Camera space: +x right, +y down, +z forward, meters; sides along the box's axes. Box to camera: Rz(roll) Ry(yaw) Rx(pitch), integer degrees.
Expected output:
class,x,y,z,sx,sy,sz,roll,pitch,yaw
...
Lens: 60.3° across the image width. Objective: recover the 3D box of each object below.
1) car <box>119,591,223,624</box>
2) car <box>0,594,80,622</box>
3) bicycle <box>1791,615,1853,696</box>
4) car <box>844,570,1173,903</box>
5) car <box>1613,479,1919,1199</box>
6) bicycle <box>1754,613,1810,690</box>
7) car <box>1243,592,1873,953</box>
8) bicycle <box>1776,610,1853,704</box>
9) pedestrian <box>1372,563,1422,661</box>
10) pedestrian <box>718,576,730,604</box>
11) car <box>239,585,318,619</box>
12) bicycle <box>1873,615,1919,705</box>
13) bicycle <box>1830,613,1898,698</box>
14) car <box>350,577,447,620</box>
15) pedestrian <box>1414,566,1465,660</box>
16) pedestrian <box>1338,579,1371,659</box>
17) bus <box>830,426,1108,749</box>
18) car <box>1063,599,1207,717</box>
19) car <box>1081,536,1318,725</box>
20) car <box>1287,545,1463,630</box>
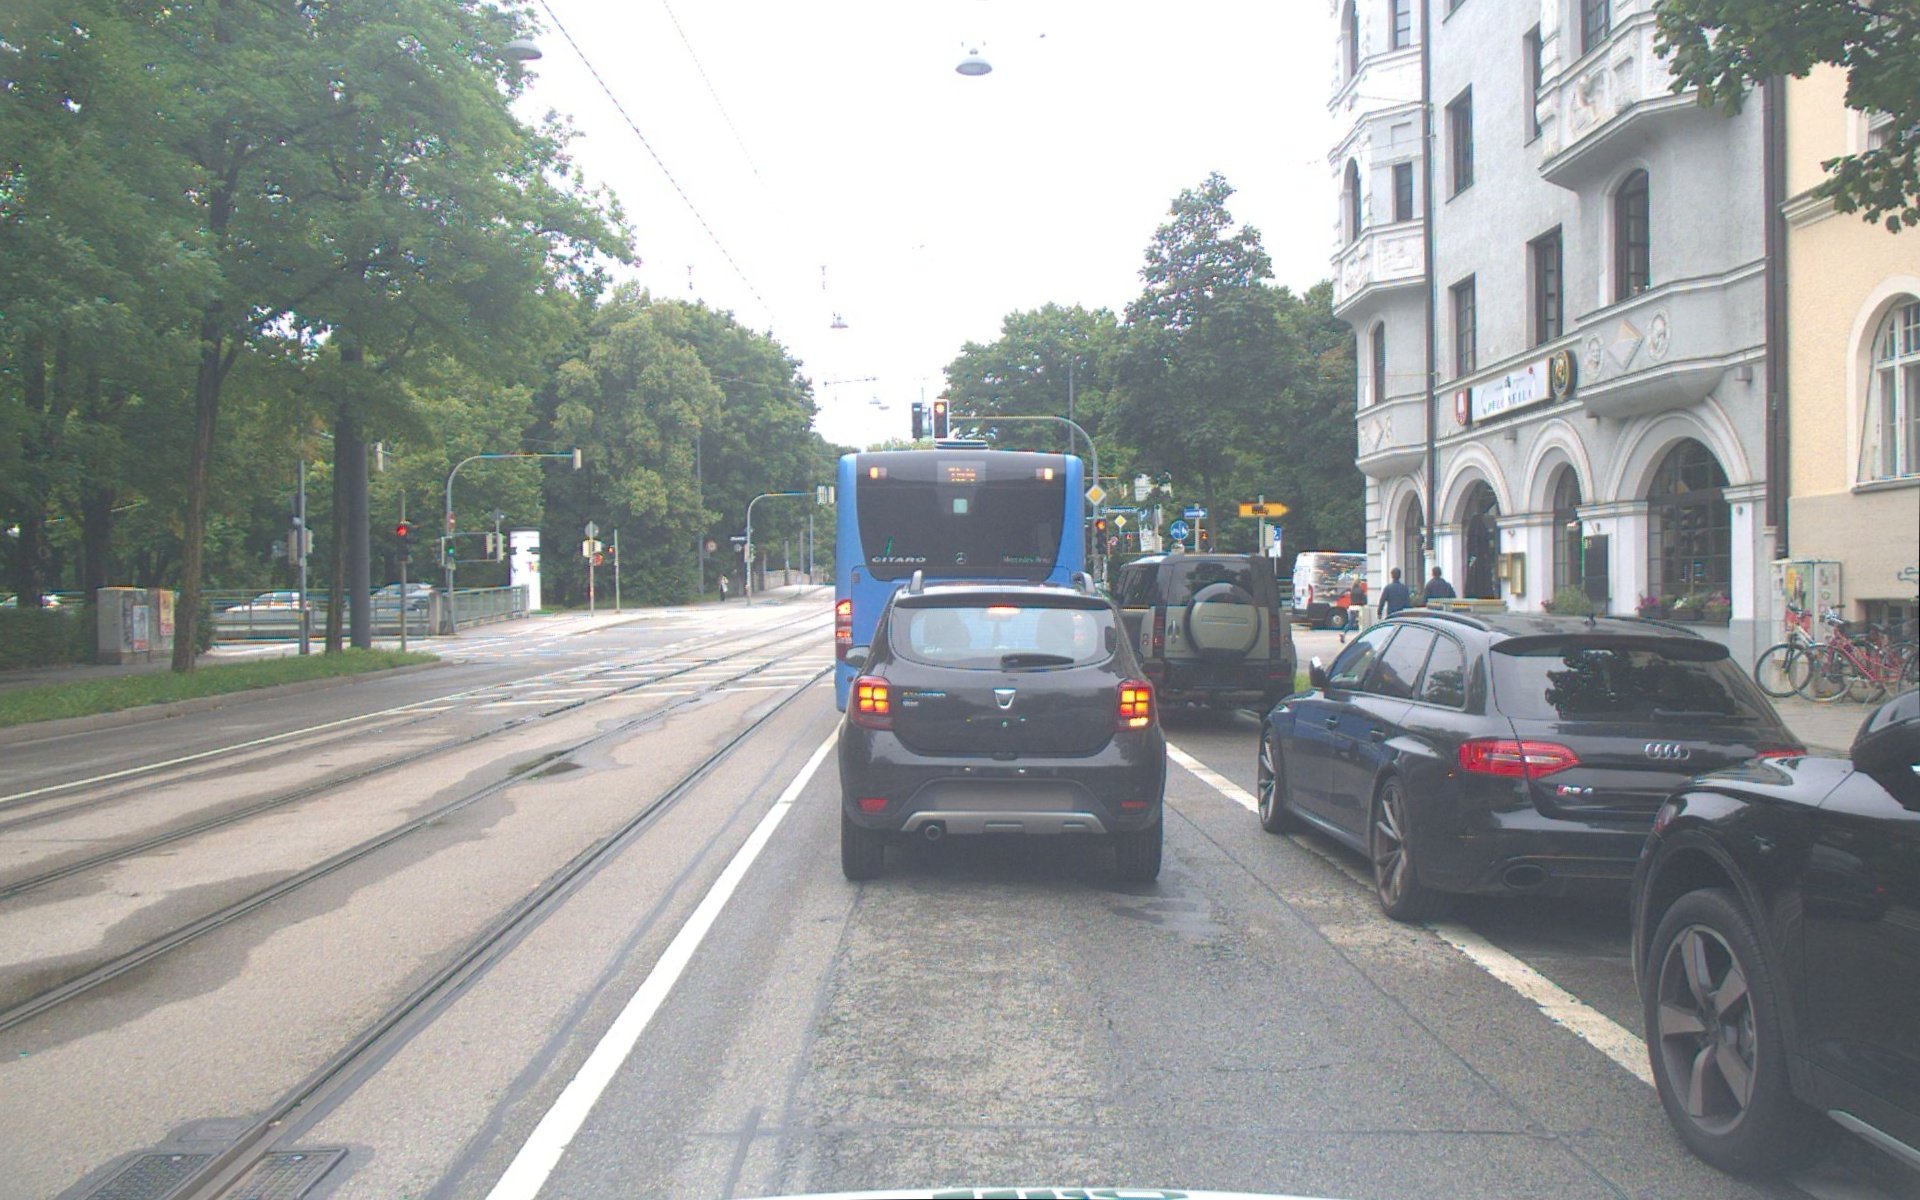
class,x,y,z,sx,sy,sz,roll,pitch,yaw
car,-35.725,0.326,74.990,3.848,1.429,1.719,1,0,-5
car,-41.826,0.357,74.503,3.656,1.206,1.249,1,0,-6
bicycle,10.409,0.656,19.986,0.285,0.947,0.886,1,0,0
car,0.195,0.659,9.752,1.568,1.584,3.524,1,0,-1
car,2.903,0.596,2.874,1.738,1.687,4.487,1,0,0
bicycle,10.393,0.641,20.923,0.254,0.947,0.886,1,0,0
car,2.843,0.703,9.057,1.681,1.451,4.601,1,0,-1
bicycle,10.002,0.647,19.389,0.237,1.057,1.223,1,0,-1
pedestrian,8.399,0.224,31.792,0.690,1.848,0.869,1,0,-1
pedestrian,-13.108,-0.556,91.863,0.520,1.527,0.588,1,0,4
car,-30.995,0.091,75.269,3.050,1.477,1.249,1,0,-6
bicycle,10.348,0.649,18.054,0.267,0.947,0.886,1,0,0
bicycle,10.392,0.625,19.025,0.299,0.947,0.886,1,0,1
car,-25.746,-0.071,75.907,3.946,1.920,1.488,1,0,-8
pedestrian,9.170,0.246,31.645,0.690,1.762,0.842,1,0,-1
pedestrian,10.145,0.483,42.518,0.660,2.049,0.715,1,0,28
bus,-0.066,-0.121,19.328,2.625,3.050,6.957,1,0,-3
car,2.593,0.818,25.437,1.679,1.619,4.326,1,0,-1
car,2.682,0.319,19.667,1.876,1.939,4.805,1,0,-3
car,13.686,-0.387,54.707,5.191,2.658,2.229,1,0,-4
